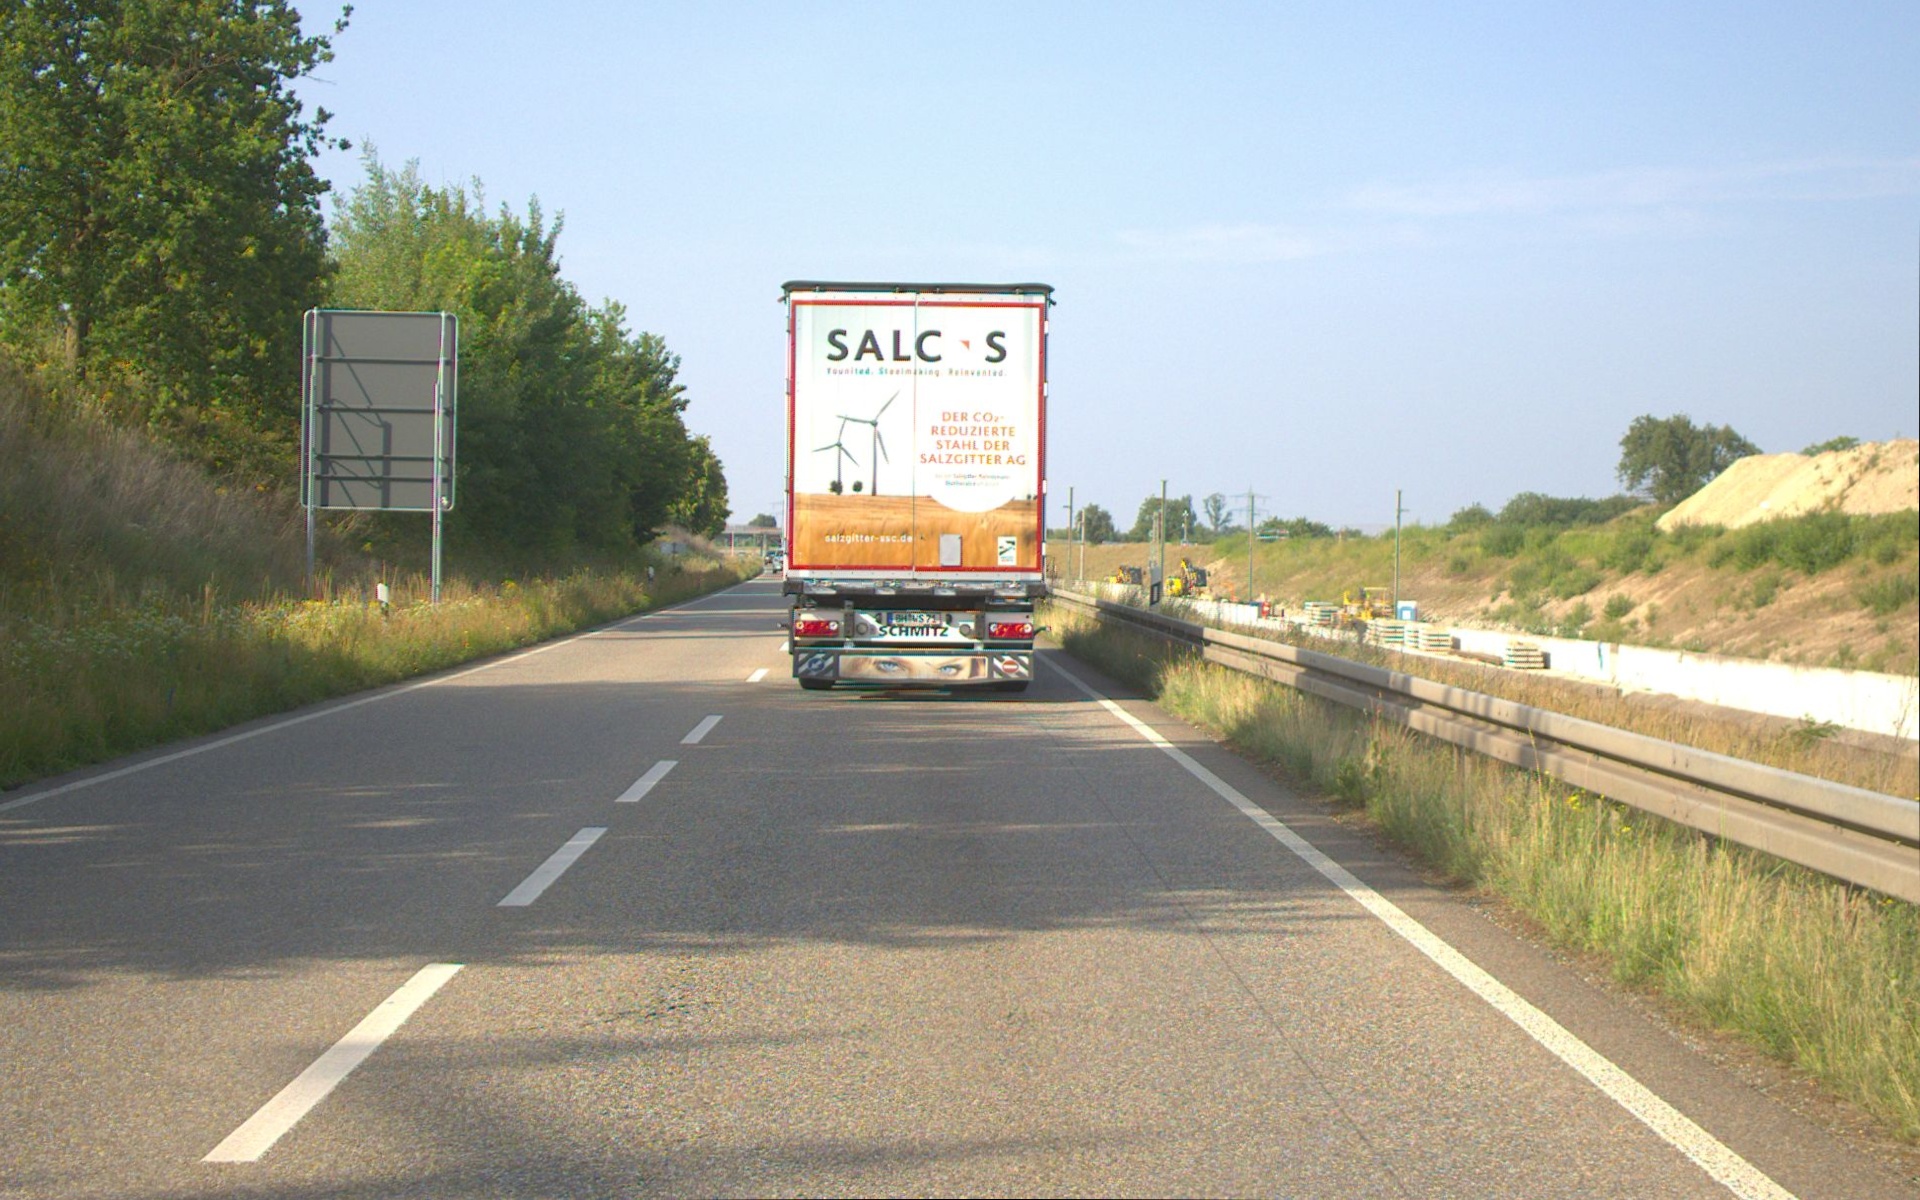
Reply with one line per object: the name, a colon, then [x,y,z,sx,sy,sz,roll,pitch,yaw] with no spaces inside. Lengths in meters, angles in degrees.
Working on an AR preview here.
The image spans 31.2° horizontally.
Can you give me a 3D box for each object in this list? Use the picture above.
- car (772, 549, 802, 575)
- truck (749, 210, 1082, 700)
car: [-10.450,-2.312,207.481,1.744,1.559,4.366,1,1,-2]
truck: [-0.568,-1.446,37.164,3.153,4.672,8.442,0,1,-2]
